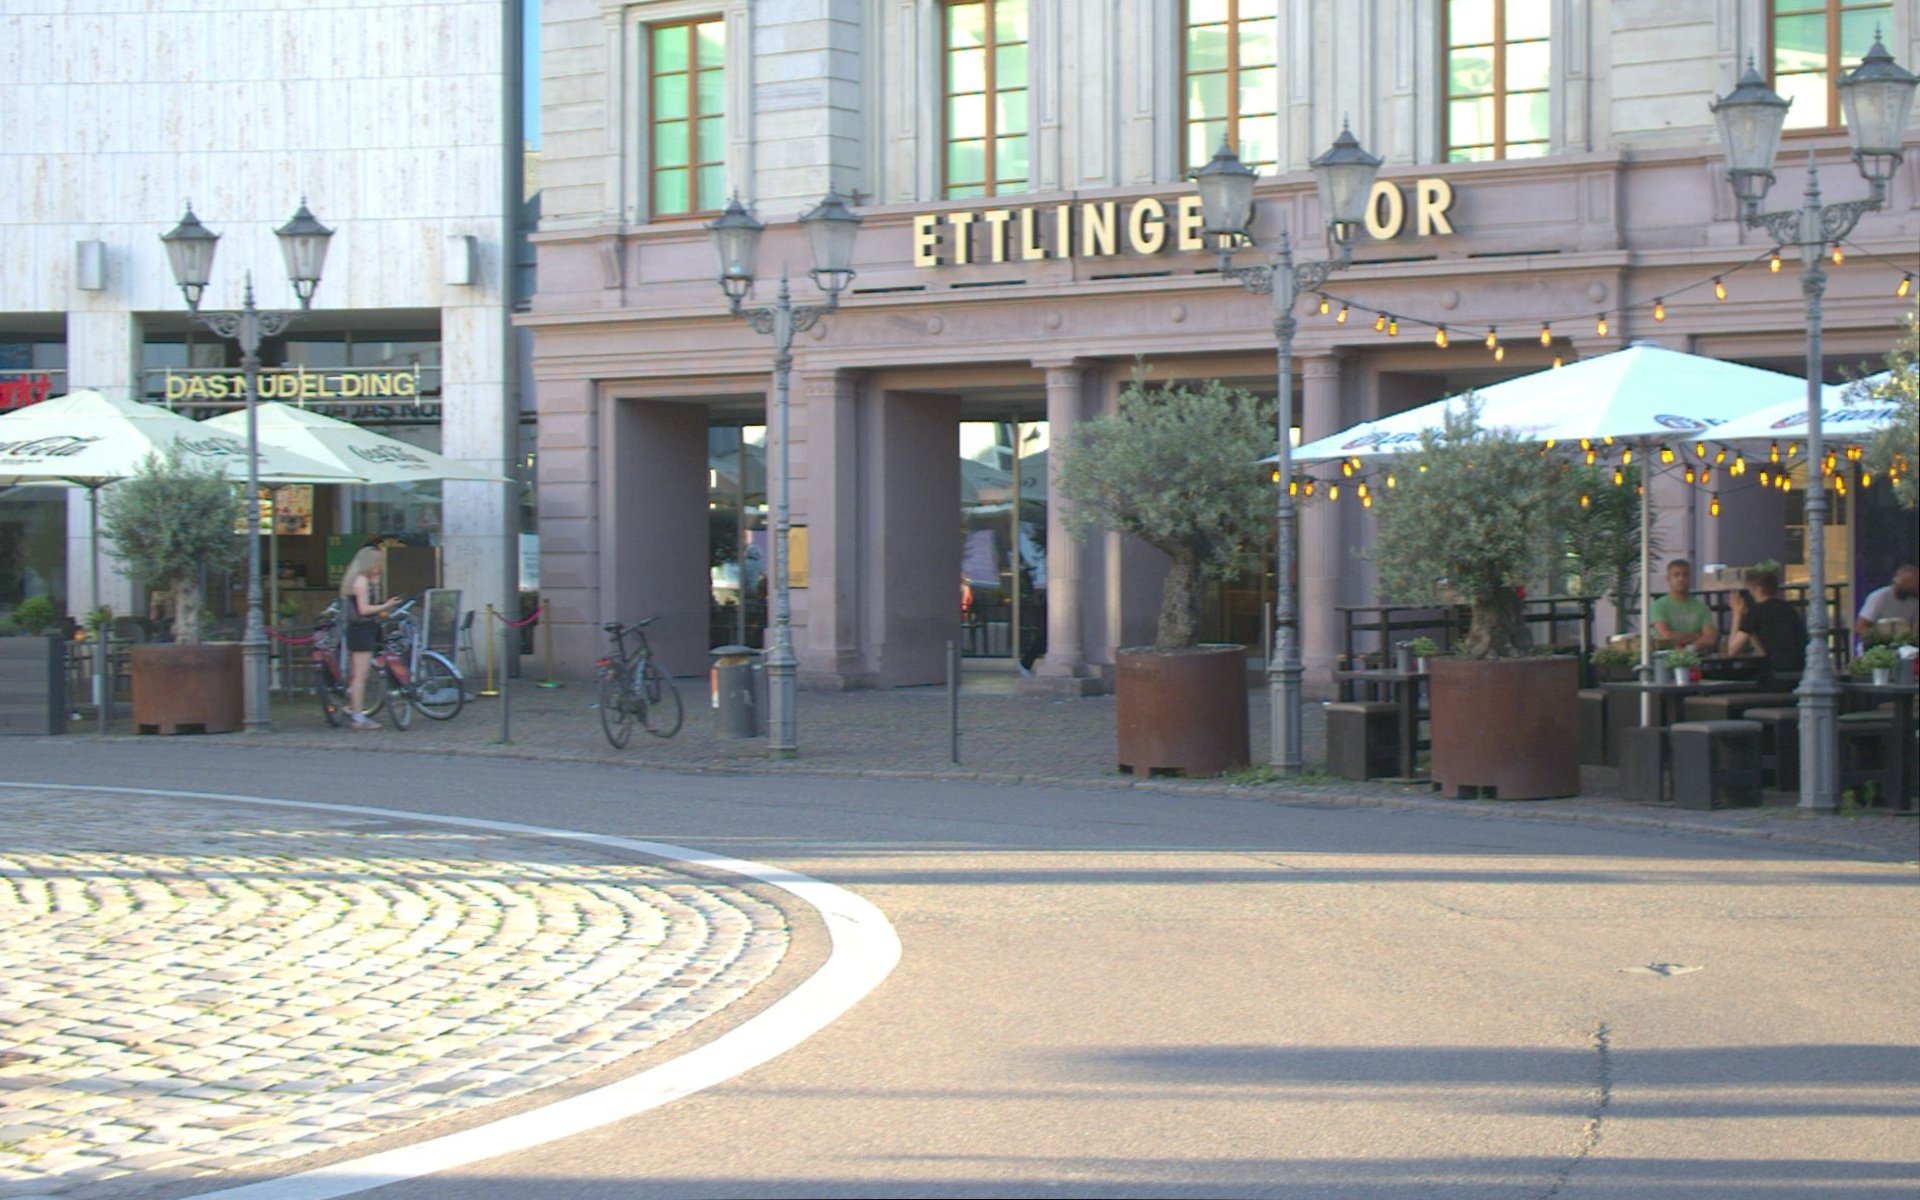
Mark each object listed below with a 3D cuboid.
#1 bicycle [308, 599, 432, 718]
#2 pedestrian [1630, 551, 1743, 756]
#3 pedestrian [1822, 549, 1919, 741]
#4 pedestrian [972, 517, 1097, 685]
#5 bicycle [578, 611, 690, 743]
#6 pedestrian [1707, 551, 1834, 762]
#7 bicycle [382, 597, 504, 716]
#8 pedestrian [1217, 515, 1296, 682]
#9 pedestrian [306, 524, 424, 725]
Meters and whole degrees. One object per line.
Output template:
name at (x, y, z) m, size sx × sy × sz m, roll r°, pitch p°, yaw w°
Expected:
bicycle at (-5.391, 0.522, 31.496) m, size 0.600 × 1.028 × 1.645 m, roll 0°, pitch 1°, yaw 10°
pedestrian at (5.338, 0.382, 25.274) m, size 0.543 × 1.473 × 0.624 m, roll -1°, pitch 1°, yaw -24°
pedestrian at (7.166, 0.340, 26.907) m, size 0.590 × 1.473 × 0.624 m, roll 0°, pitch 1°, yaw -14°
pedestrian at (0.816, 0.000, 37.743) m, size 0.989 × 1.816 × 0.969 m, roll 1°, pitch 1°, yaw 40°
bicycle at (-2.697, 0.623, 28.557) m, size 0.507 × 1.028 × 1.645 m, roll 0°, pitch 1°, yaw 10°
pedestrian at (5.770, 0.391, 24.493) m, size 0.587 × 1.473 × 0.684 m, roll -1°, pitch 1°, yaw -23°
bicycle at (-4.711, 0.504, 31.429) m, size 0.619 × 1.028 × 1.645 m, roll 0°, pitch 1°, yaw 10°
pedestrian at (3.098, -0.025, 35.881) m, size 0.623 × 1.722 × 0.544 m, roll 1°, pitch 1°, yaw 39°
pedestrian at (-5.207, 0.197, 30.071) m, size 0.904 × 1.722 × 0.850 m, roll -1°, pitch 1°, yaw -17°
